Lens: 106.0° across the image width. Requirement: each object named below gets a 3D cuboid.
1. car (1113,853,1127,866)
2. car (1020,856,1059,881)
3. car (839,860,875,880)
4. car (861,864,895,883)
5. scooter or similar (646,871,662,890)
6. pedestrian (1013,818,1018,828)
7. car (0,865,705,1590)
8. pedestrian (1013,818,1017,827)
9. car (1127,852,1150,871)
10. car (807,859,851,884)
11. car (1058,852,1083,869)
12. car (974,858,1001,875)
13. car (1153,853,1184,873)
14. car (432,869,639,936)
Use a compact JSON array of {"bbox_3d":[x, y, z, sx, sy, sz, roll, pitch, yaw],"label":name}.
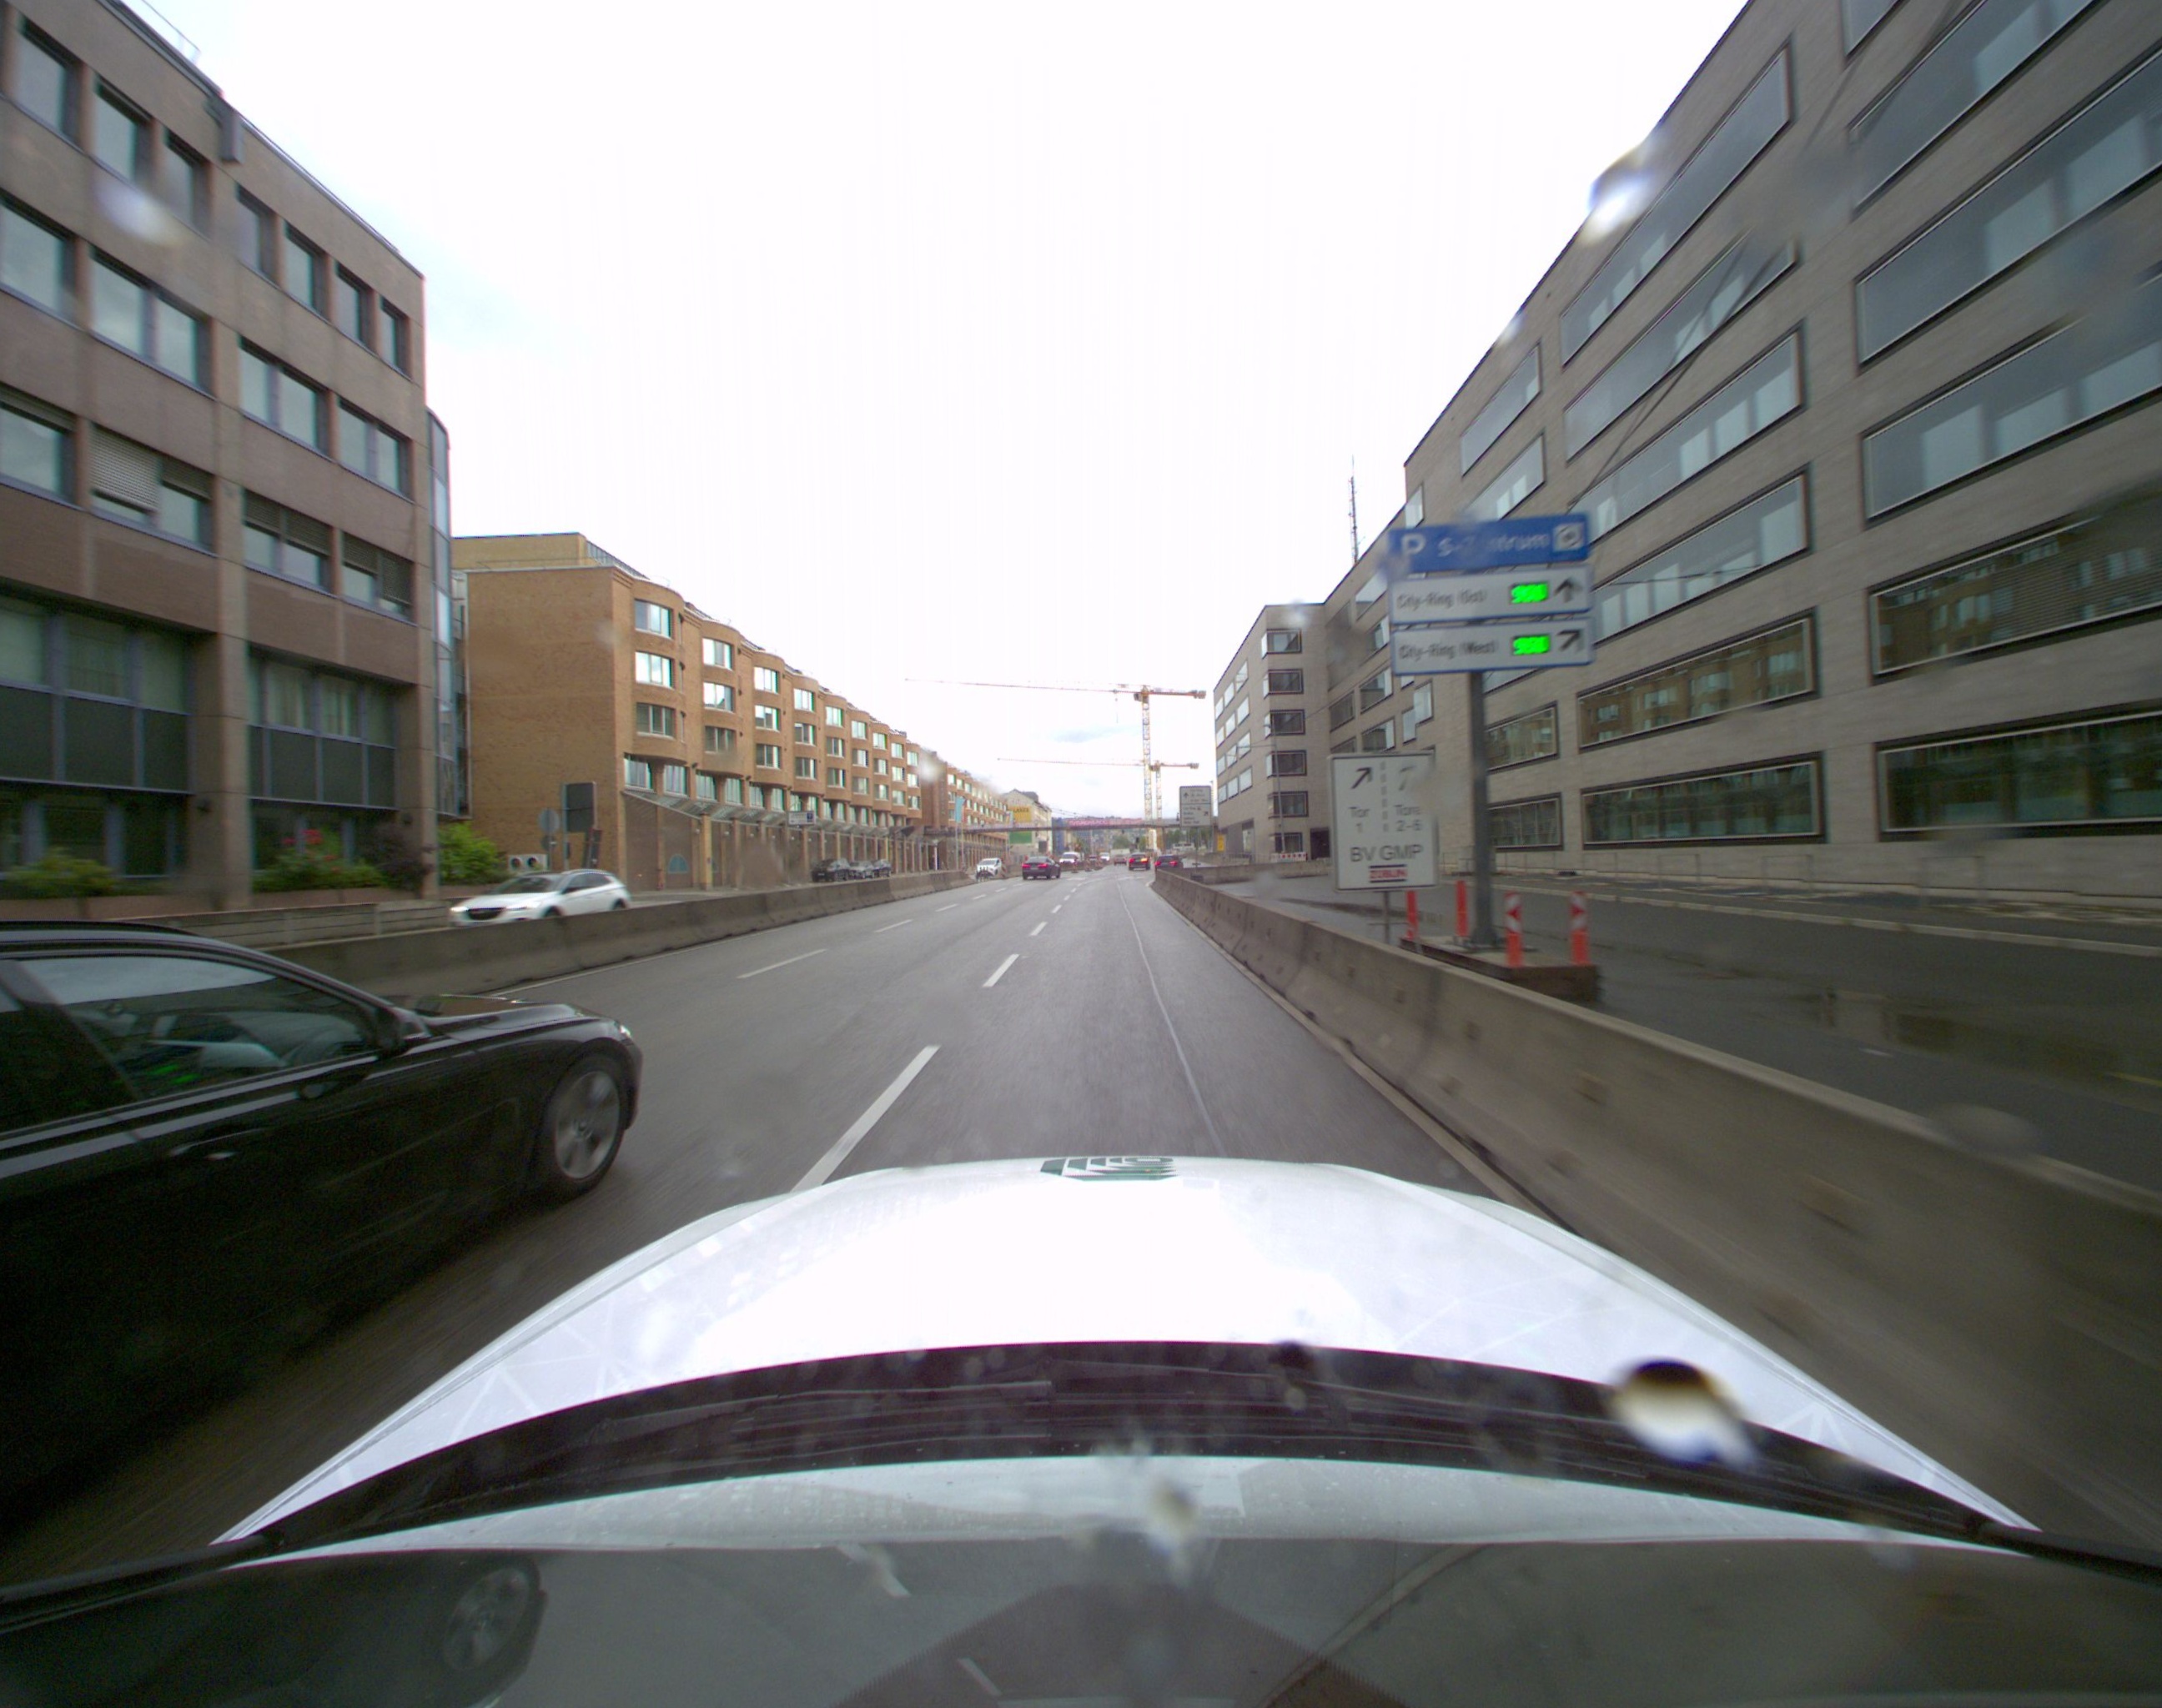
[{"bbox_3d":[5.671,0.792,117.994,1.856,1.765,4.658,-2,0,2],"label":"car"},{"bbox_3d":[-2.618,0.907,52.589,1.854,1.443,4.662,-2,0,4],"label":"car"},{"bbox_3d":[-20.213,1.413,73.670,1.987,1.594,4.540,-2,0,0],"label":"car"},{"bbox_3d":[-19.741,1.900,79.323,1.987,1.690,5.048,-2,0,0],"label":"car"},{"bbox_3d":[-24.886,1.542,47.468,0.448,1.063,1.042,-2,0,-9],"label":"scooter or similar"},{"bbox_3d":[-9.960,-4.634,123.454,0.617,1.452,0.619,-3,0,6],"label":"pedestrian"},{"bbox_3d":[-3.089,0.807,2.268,1.761,1.443,4.658,-2,0,2],"label":"car"},{"bbox_3d":[-10.009,-4.776,123.480,0.473,1.194,0.485,-3,0,6],"label":"pedestrian"},{"bbox_3d":[5.550,0.679,78.036,1.853,1.660,4.666,-2,0,7],"label":"car"},{"bbox_3d":[-20.561,1.404,66.705,1.987,1.886,5.013,-2,0,0],"label":"car"},{"bbox_3d":[-1.088,0.693,88.513,1.874,1.783,4.890,-2,0,10],"label":"car"},{"bbox_3d":[-7.069,0.948,61.877,1.608,1.231,3.725,-2,0,-1],"label":"car"},{"bbox_3d":[6.882,0.702,63.460,1.850,1.433,4.672,-2,0,13],"label":"car"},{"bbox_3d":[-12.574,1.051,19.213,1.839,1.269,4.547,-2,0,-1],"label":"car"}]
